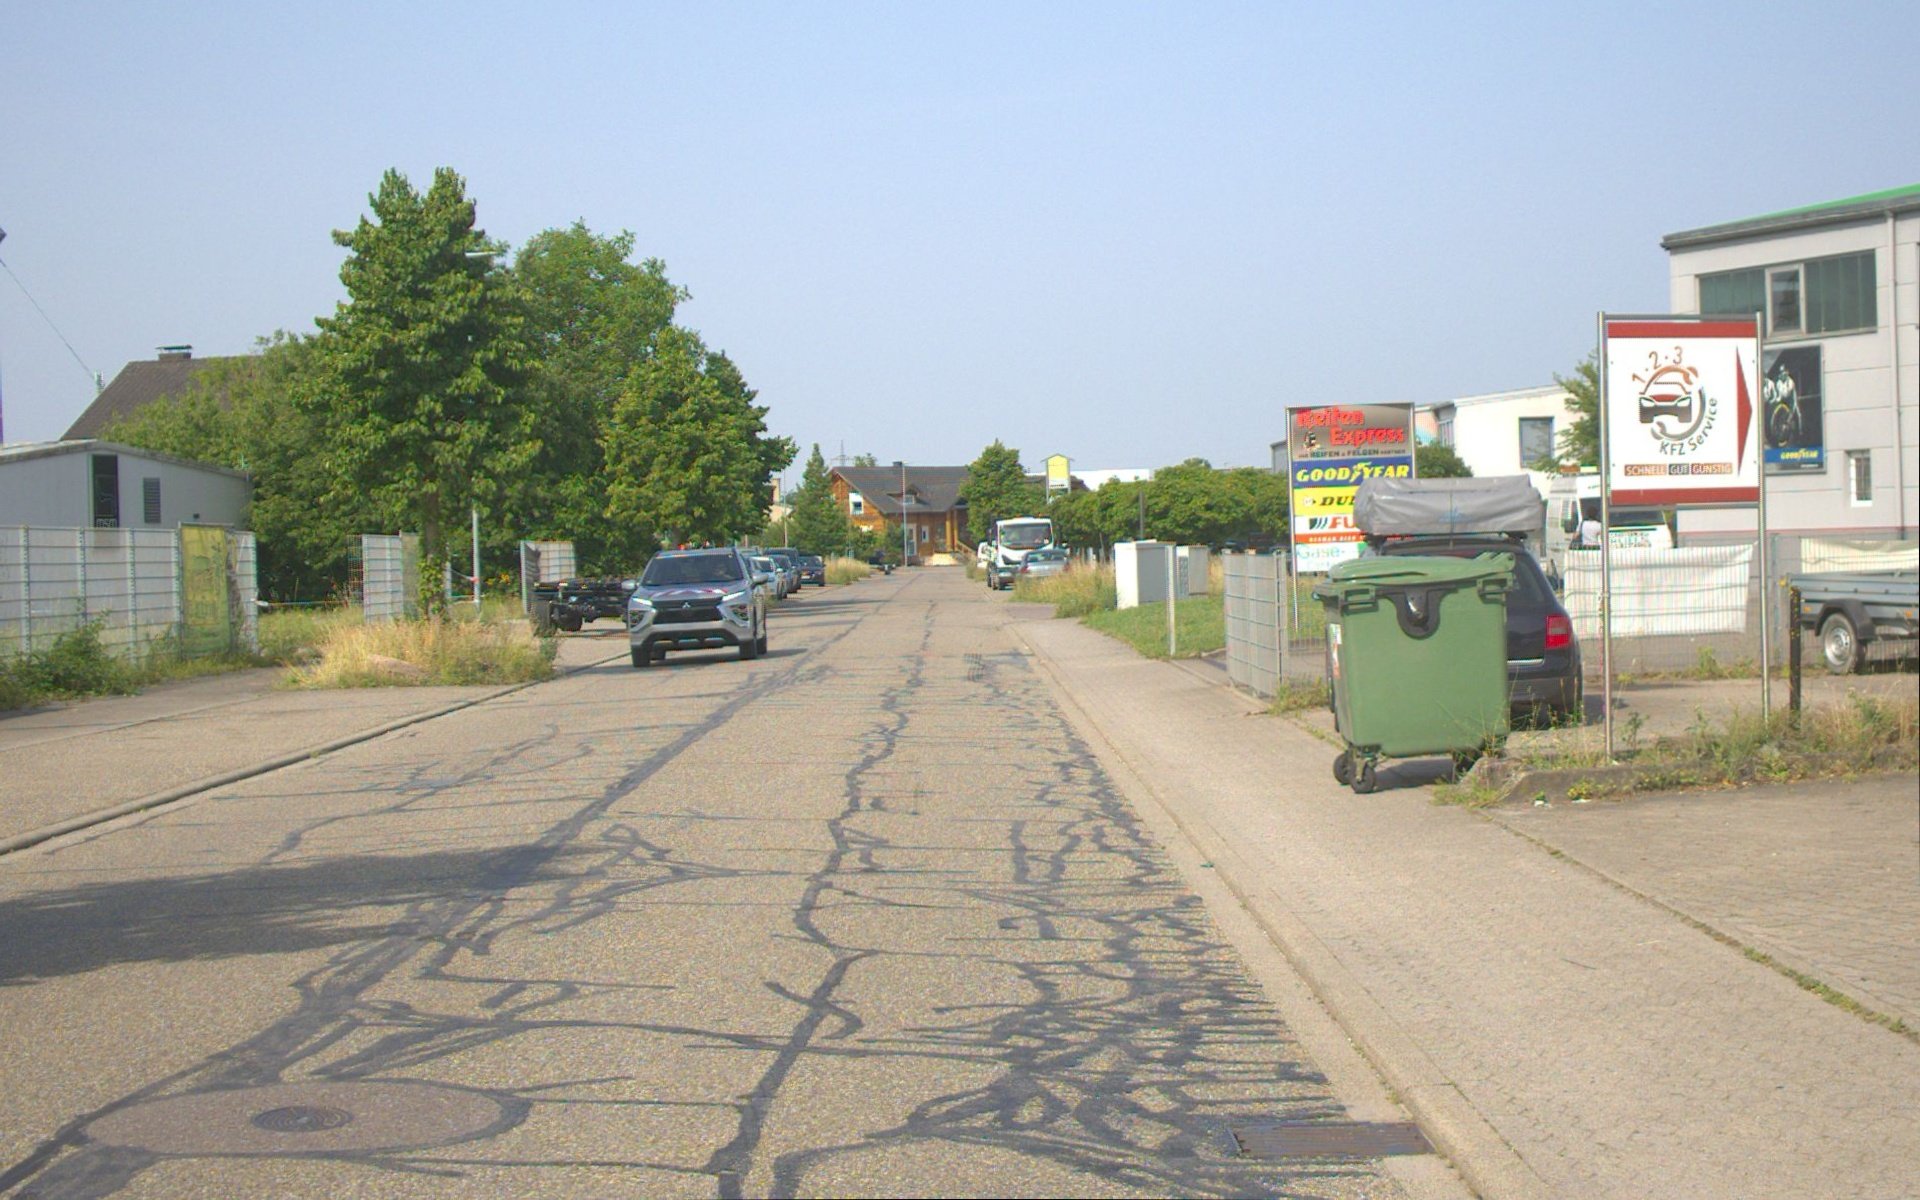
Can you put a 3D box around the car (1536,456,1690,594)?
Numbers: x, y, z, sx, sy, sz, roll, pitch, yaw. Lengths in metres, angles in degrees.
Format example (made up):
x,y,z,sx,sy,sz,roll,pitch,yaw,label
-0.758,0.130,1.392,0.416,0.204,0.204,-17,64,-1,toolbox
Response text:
x,y,z,sx,sy,sz,roll,pitch,yaw,label
13.566,-1.554,71.749,1.974,2.696,5.881,-2,1,0,car

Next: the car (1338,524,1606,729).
x,y,z,sx,sy,sz,roll,pitch,yaw,label
3.801,0.140,26.109,1.674,1.364,4.393,-2,1,5,car

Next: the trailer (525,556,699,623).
x,y,z,sx,sy,sz,roll,pitch,yaw,label
-6.832,-0.260,68.614,2.582,1.180,9.364,0,1,0,trailer

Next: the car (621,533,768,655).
x,y,z,sx,sy,sz,roll,pitch,yaw,label
-3.836,-0.122,50.307,1.811,1.621,4.250,-2,1,-1,car

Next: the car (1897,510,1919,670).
x,y,z,sx,sy,sz,roll,pitch,yaw,label
10.305,-0.113,29.938,1.639,1.461,4.462,-2,1,-24,car

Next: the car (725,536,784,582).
x,y,z,sx,sy,sz,roll,pitch,yaw,label
-6.819,-1.383,114.366,1.683,1.464,4.254,0,1,0,car

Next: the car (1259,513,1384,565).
x,y,z,sx,sy,sz,roll,pitch,yaw,label
12.275,-2.083,116.522,4.522,1.583,1.686,-3,1,-44,car

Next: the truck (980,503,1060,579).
x,y,z,sx,sy,sz,roll,pitch,yaw,label
2.200,-2.200,127.994,2.359,2.672,6.512,-2,1,-4,truck

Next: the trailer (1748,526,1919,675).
x,y,z,sx,sy,sz,roll,pitch,yaw,label
8.400,-0.019,29.865,1.490,1.244,2.978,-1,1,-26,trailer

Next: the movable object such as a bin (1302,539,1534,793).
x,y,z,sx,sy,sz,roll,pitch,yaw,label
2.650,0.358,20.091,1.081,1.348,1.506,-4,1,1,movable object such as a bin

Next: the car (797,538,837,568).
x,y,z,sx,sy,sz,roll,pitch,yaw,label
-6.797,-2.245,163.781,1.800,1.382,3.638,0,1,-1,car

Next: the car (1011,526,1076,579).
x,y,z,sx,sy,sz,roll,pitch,yaw,label
2.517,-1.452,104.429,1.794,1.512,4.424,-2,1,0,car

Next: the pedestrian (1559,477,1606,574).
x,y,z,sx,sy,sz,roll,pitch,yaw,label
10.642,-1.275,58.759,0.703,1.634,0.748,-2,1,13,pedestrian
